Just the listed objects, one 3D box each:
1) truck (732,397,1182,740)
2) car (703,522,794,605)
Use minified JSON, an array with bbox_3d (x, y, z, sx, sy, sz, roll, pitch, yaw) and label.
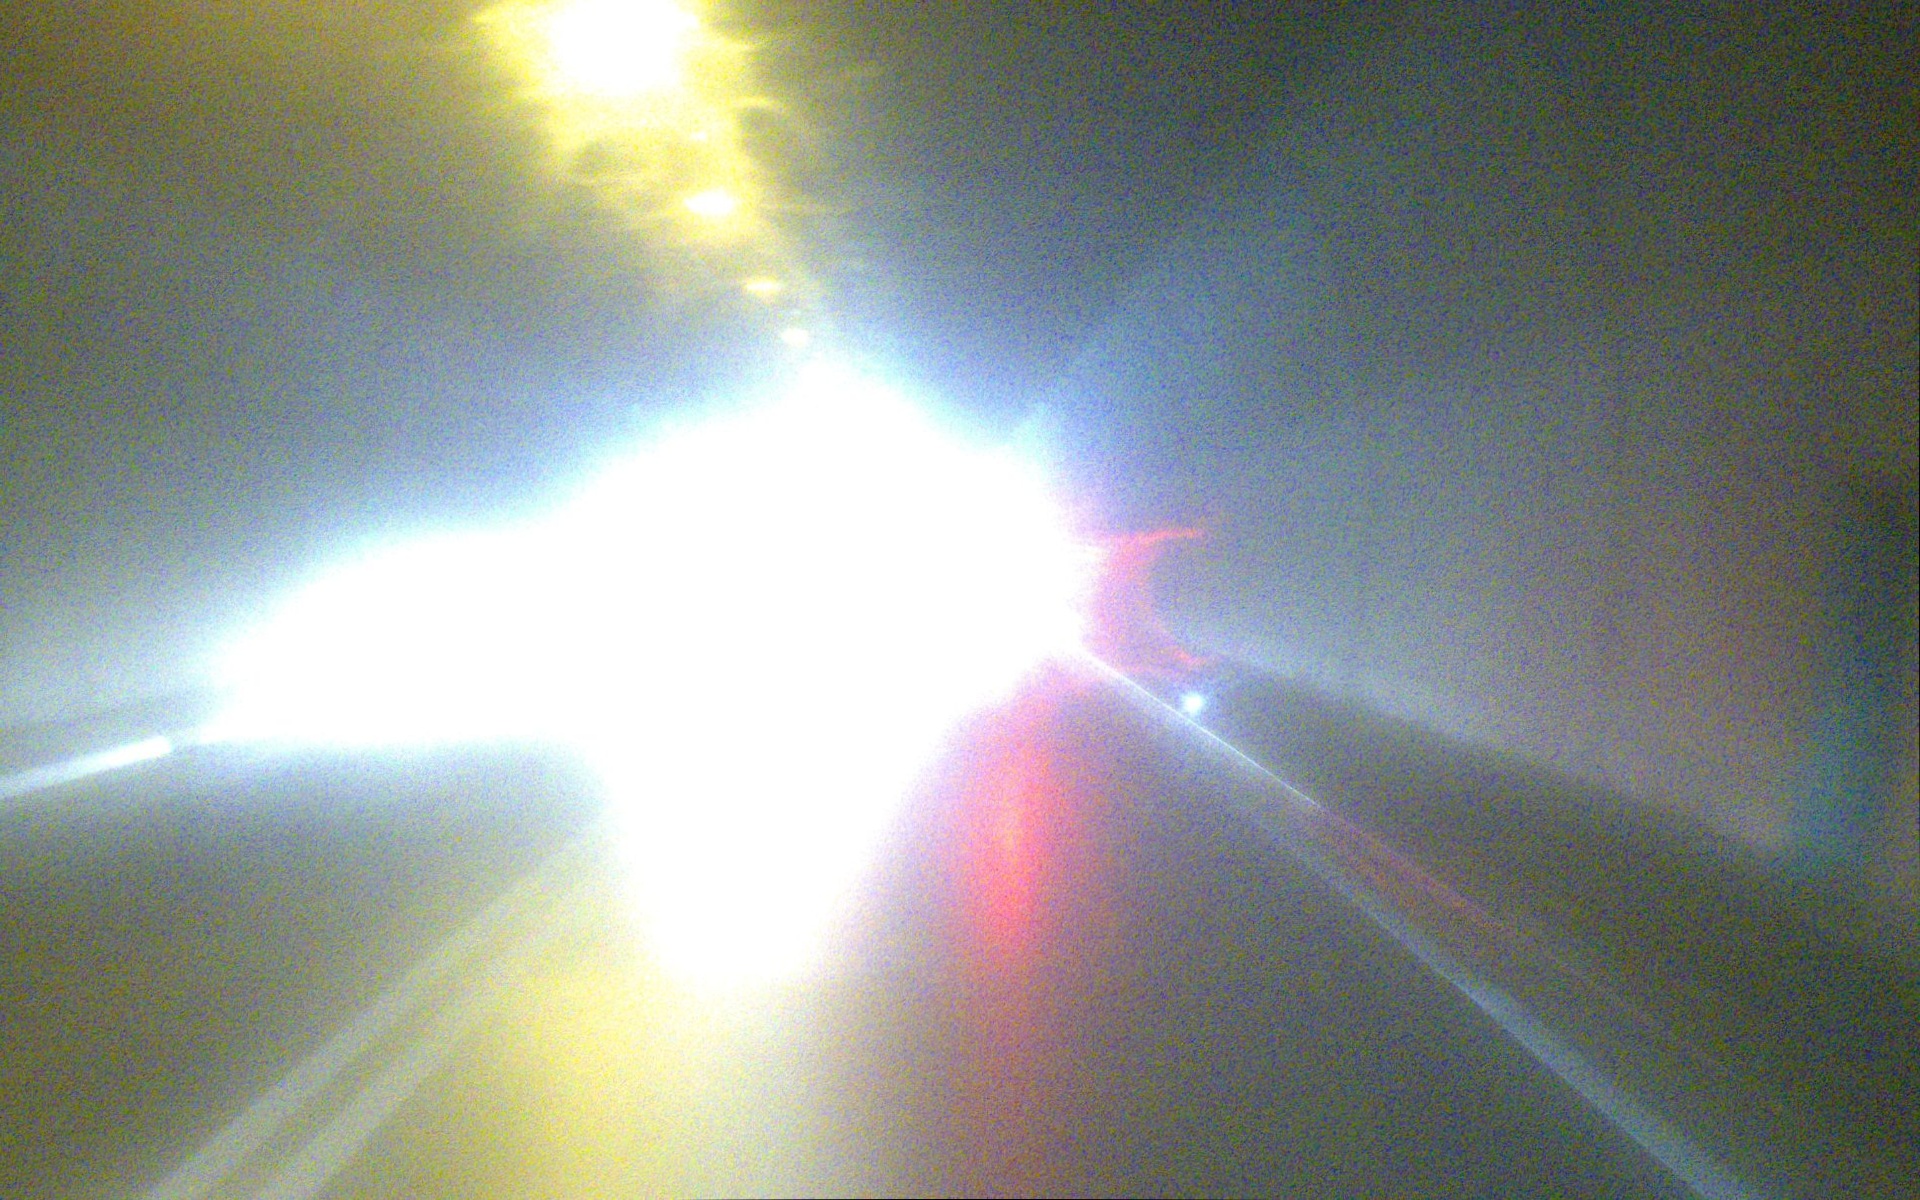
[{"bbox_3d":[-0.059,-0.307,31.641,3.535,2.684,8.956,0,1,0],"label":"truck"},{"bbox_3d":[-4.232,-0.741,69.298,1.598,1.608,3.996,0,1,0],"label":"car"}]
